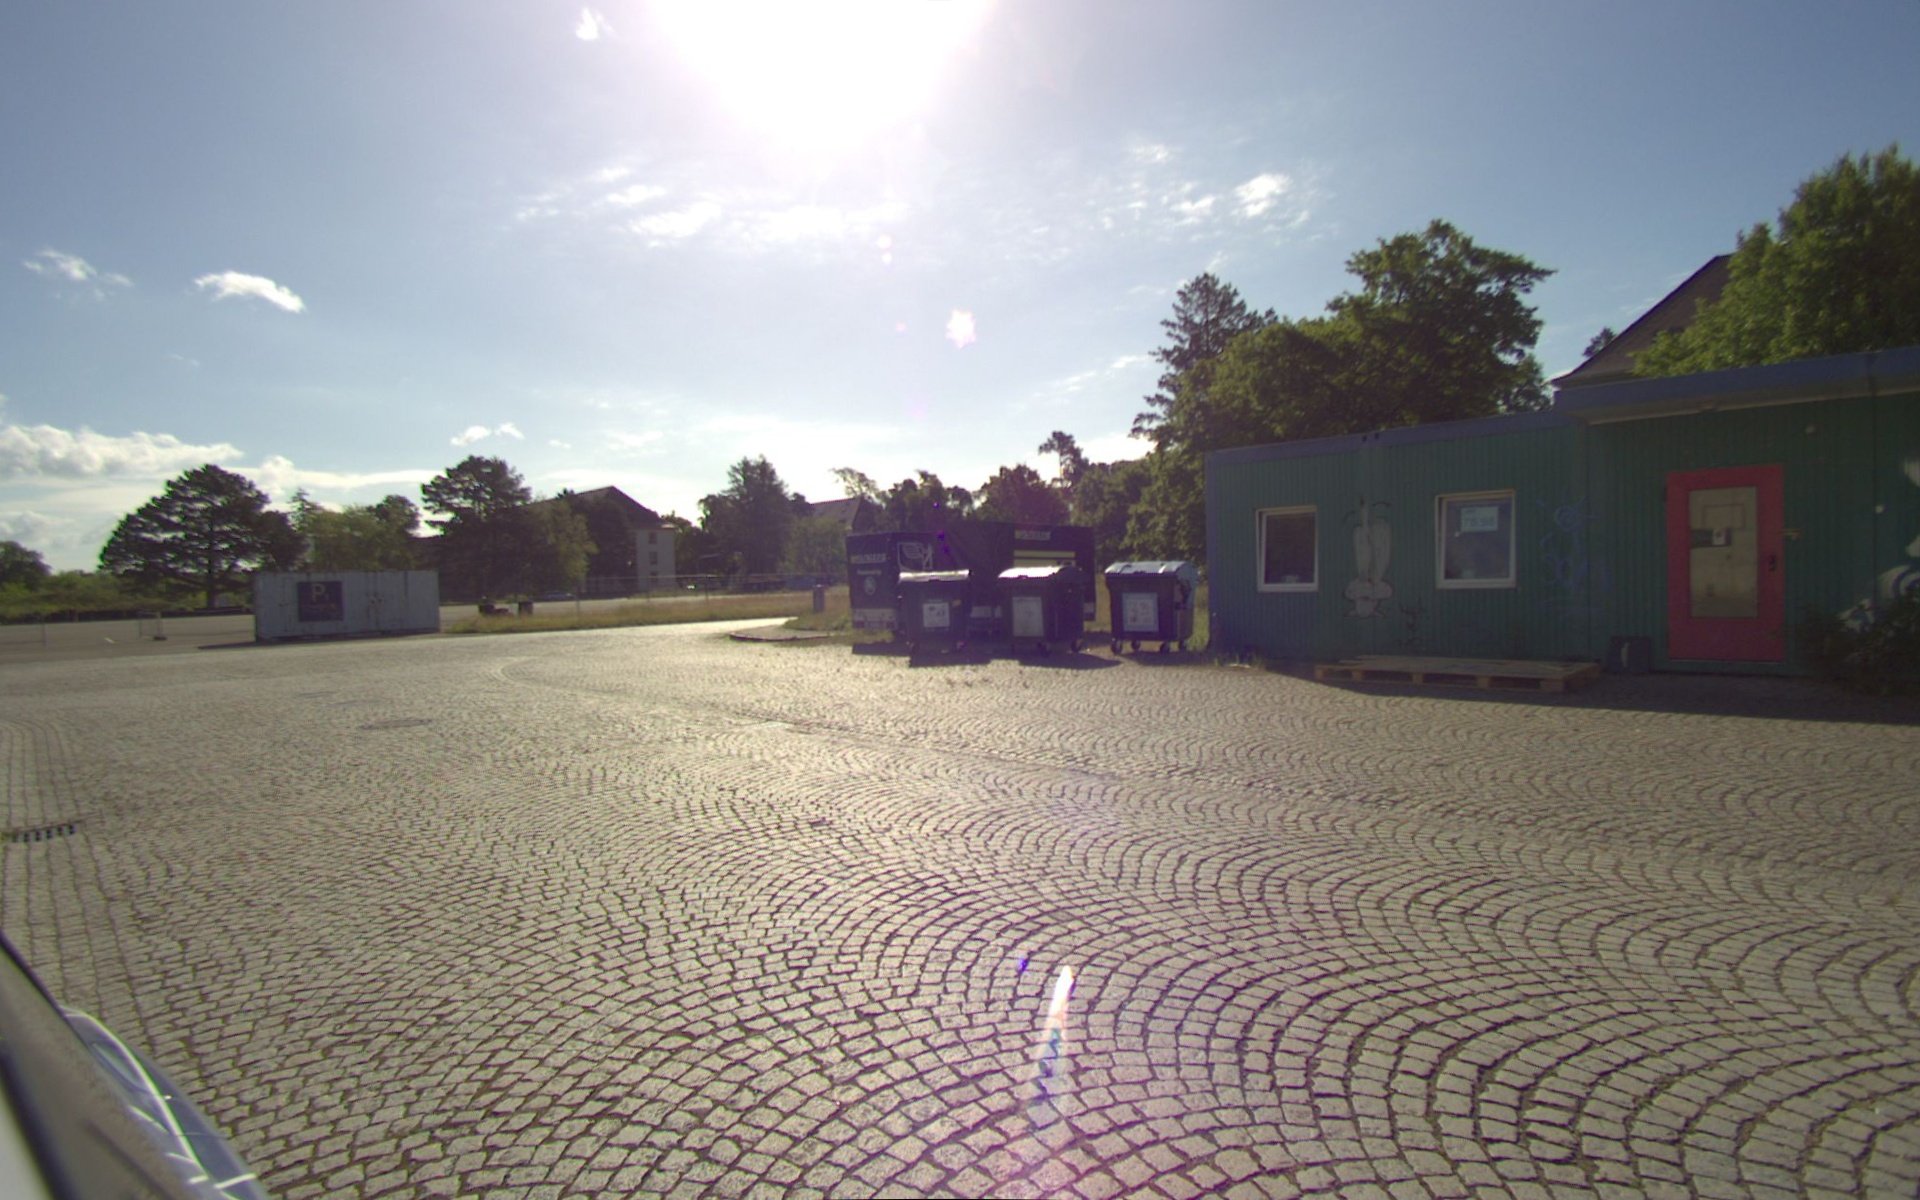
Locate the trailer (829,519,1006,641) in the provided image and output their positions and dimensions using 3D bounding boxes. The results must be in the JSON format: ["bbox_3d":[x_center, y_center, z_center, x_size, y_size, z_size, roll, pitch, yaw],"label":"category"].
[{"bbox_3d":[-0.922,-0.501,22.600,3.345,2.488,2.046,-5,3,-43],"label":"trailer"}]

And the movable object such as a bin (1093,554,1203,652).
[{"bbox_3d":[2.986,0.043,16.082,1.437,1.468,0.874,-1,3,36],"label":"movable object such as a bin"}]

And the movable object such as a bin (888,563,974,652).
[{"bbox_3d":[-0.507,0.108,17.981,1.418,1.468,1.156,-2,2,-1],"label":"movable object such as a bin"}]

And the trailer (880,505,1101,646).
[{"bbox_3d":[0.743,-0.577,20.799,1.951,2.587,4.588,0,3,42],"label":"trailer"}]

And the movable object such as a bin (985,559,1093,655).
[{"bbox_3d":[1.298,0.097,16.787,1.006,1.468,1.442,-4,3,-44],"label":"movable object such as a bin"}]
